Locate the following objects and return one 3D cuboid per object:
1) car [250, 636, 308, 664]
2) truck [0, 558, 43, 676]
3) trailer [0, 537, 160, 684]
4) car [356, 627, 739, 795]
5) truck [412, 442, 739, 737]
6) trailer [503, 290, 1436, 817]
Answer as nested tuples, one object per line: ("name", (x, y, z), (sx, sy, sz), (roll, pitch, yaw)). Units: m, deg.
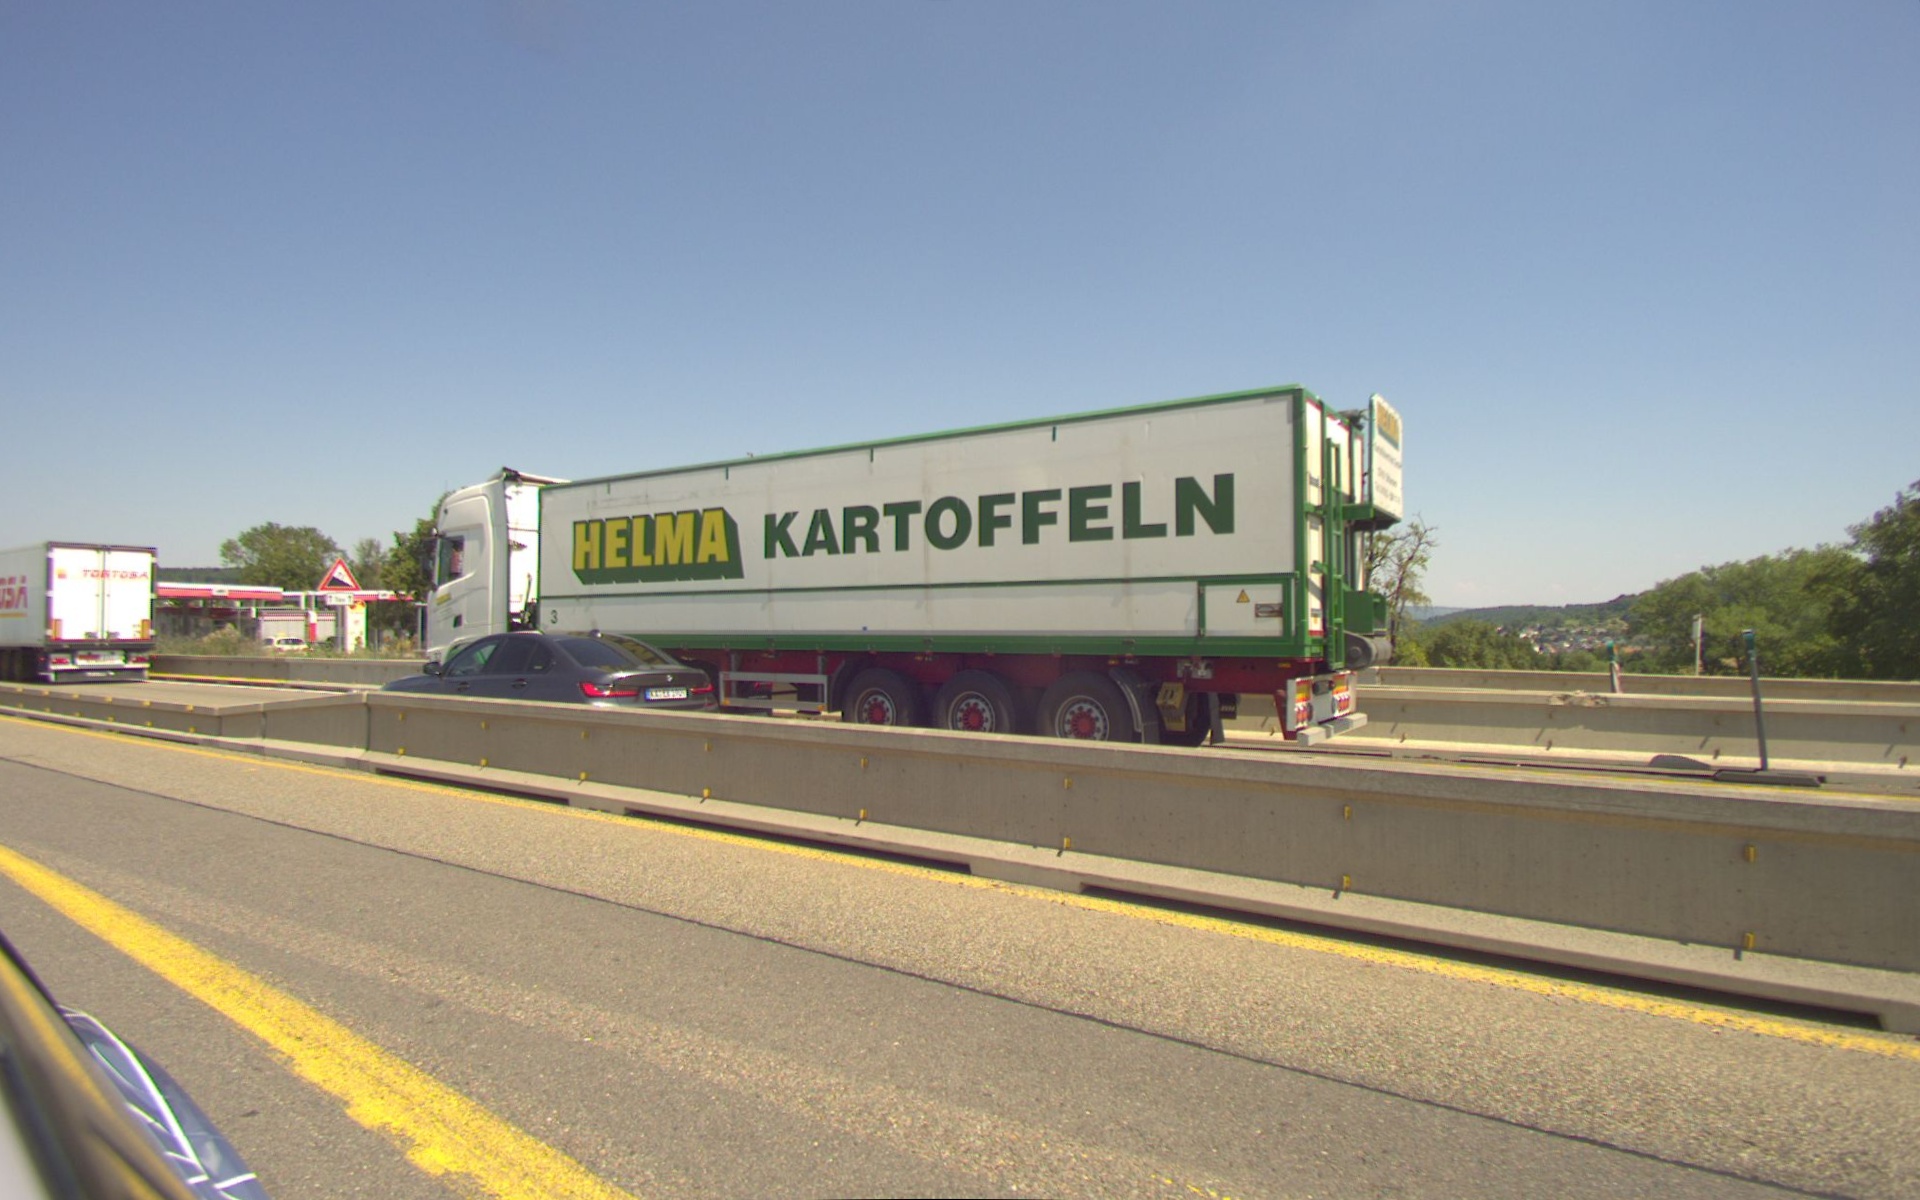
("car", (-36.587, 2.658, 54.363), (3.399, 1.386, 1.439), (-1, -1, 35))
("truck", (-36.398, 0.642, 37.159), (5.443, 4.163, 2.807), (-1, -1, 34))
("trailer", (-30.381, 0.487, 33.137), (13.088, 4.125, 2.792), (-2, -2, 34))
("car", (-4.655, 1.057, 11.140), (4.525, 1.489, 1.739), (-1, -1, 35))
("truck", (-6.231, -0.098, 16.238), (5.063, 4.038, 2.428), (-1, -1, 33))
("trailer", (-1.106, -0.265, 12.588), (12.468, 4.183, 2.333), (-1, -1, 35))
